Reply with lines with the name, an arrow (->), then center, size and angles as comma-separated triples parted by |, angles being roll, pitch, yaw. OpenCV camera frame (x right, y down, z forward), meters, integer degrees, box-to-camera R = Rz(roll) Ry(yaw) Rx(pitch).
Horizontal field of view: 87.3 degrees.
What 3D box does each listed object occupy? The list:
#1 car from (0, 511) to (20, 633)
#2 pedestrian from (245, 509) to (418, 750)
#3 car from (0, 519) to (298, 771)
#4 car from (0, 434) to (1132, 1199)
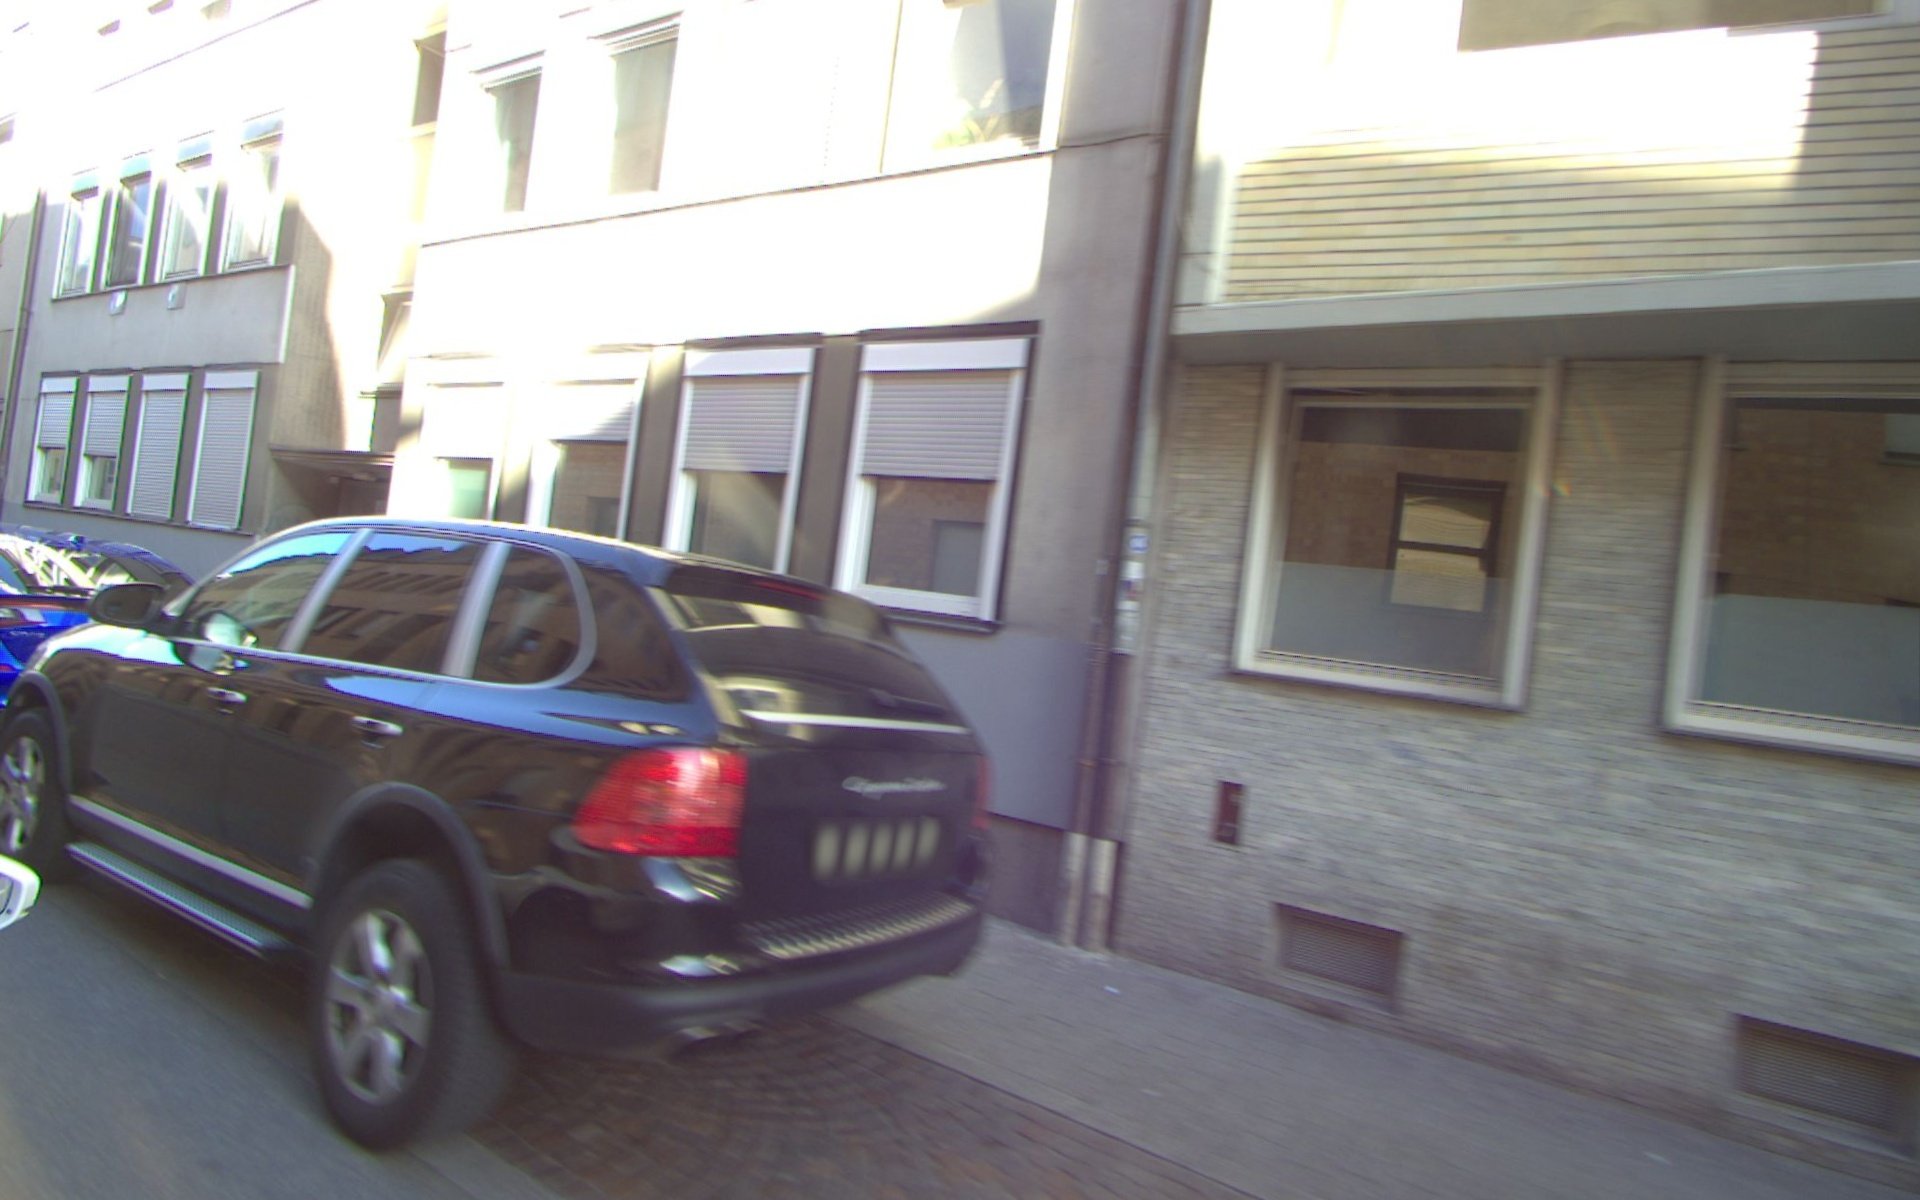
car -> -12.217, -0.505, 10.617 | 5.138, 1.469, 1.899 | 7, -3, 31
pedestrian -> -4.939, 0.224, 7.926 | 0.734, 1.743, 0.789 | 7, 1, 31
car -> -7.218, 0.113, 7.478 | 4.709, 1.427, 1.813 | 7, -4, 30
car -> -2.096, 0.484, 4.211 | 4.969, 1.805, 2.108 | 7, -3, 32
